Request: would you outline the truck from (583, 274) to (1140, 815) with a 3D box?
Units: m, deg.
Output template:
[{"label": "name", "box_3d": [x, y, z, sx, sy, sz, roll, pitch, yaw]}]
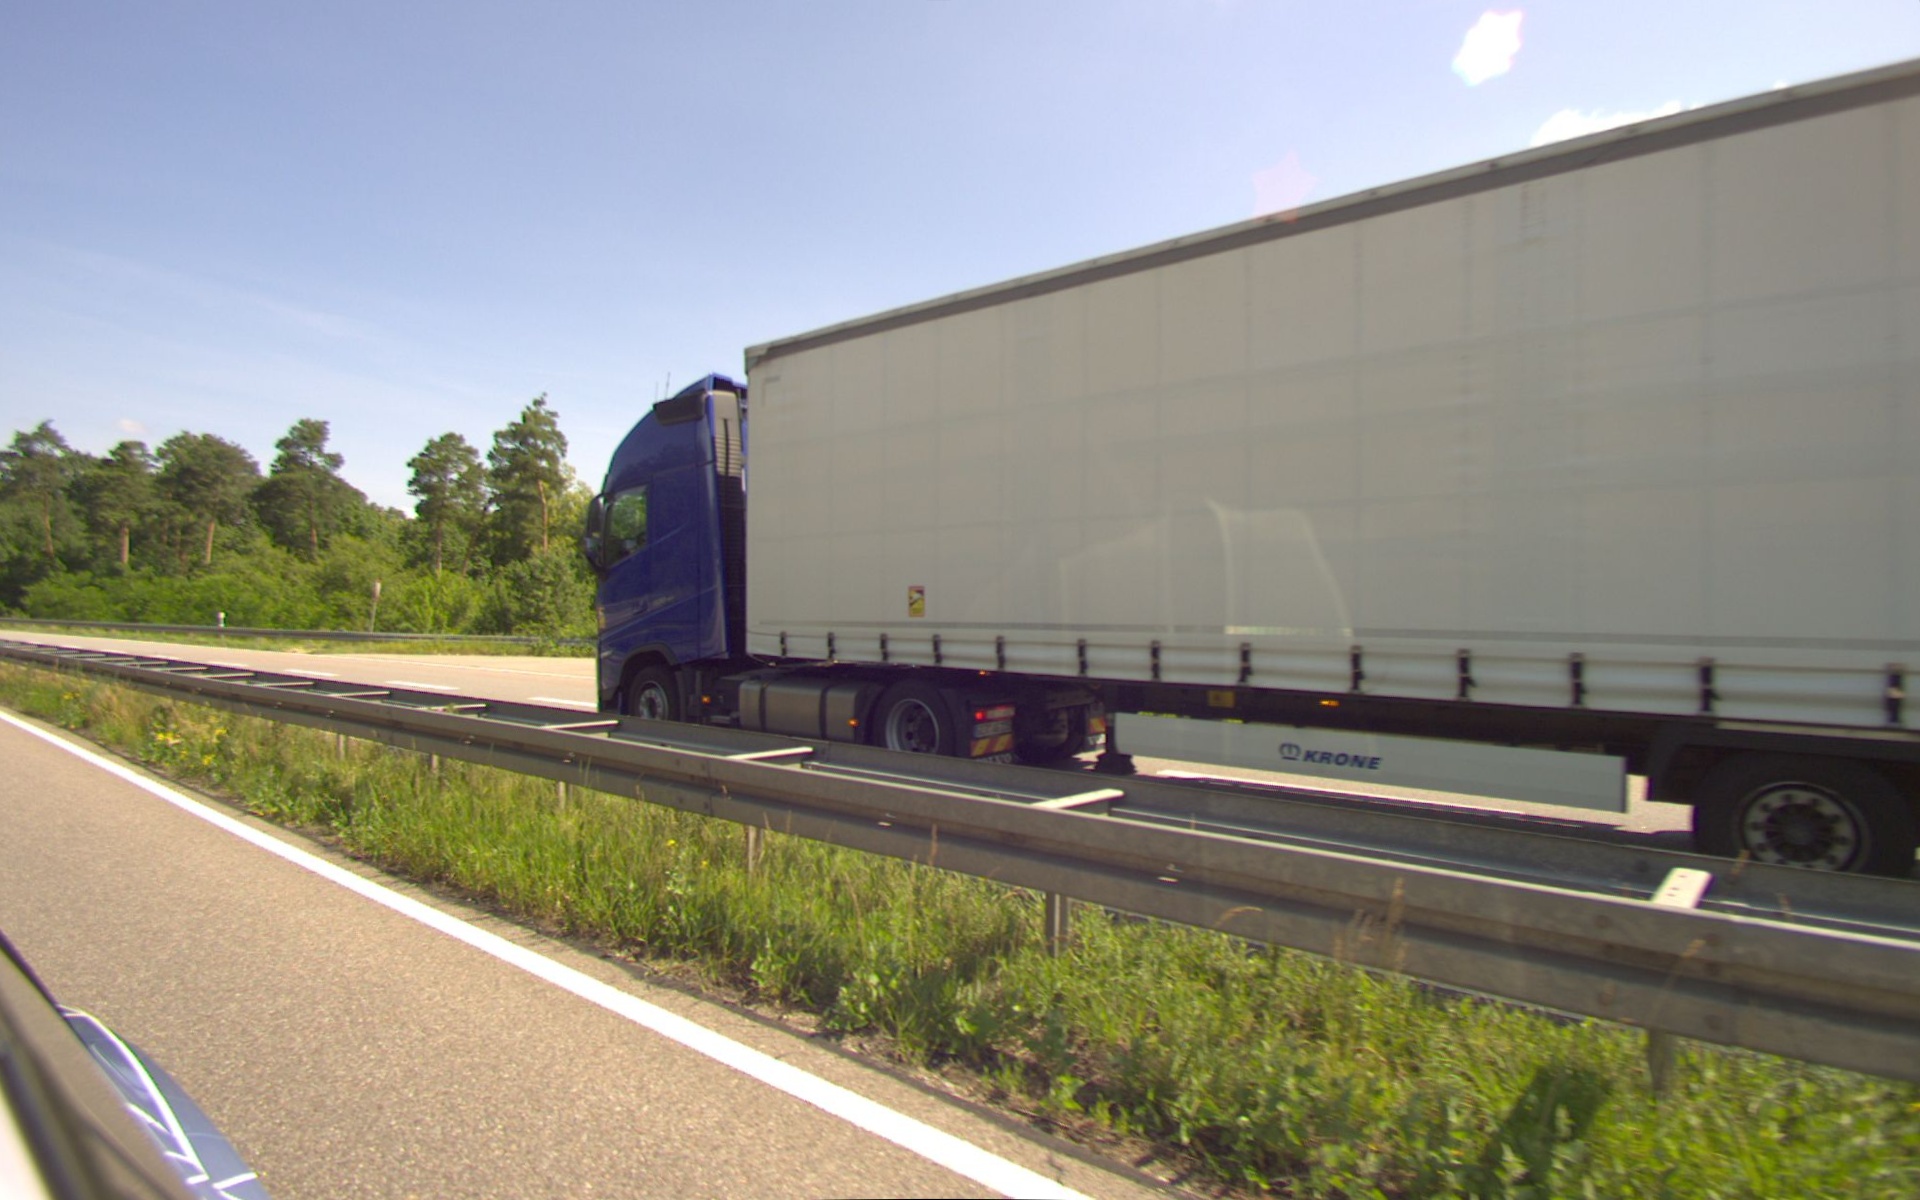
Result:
[{"label": "truck", "box_3d": [-1.240, -0.403, 10.728, 5.592, 4.219, 2.740, -1, -1, 39]}]

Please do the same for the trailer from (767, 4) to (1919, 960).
[{"label": "trailer", "box_3d": [4.661, -0.510, 5.847, 14.569, 4.204, 2.718, -1, -1, 40]}]
